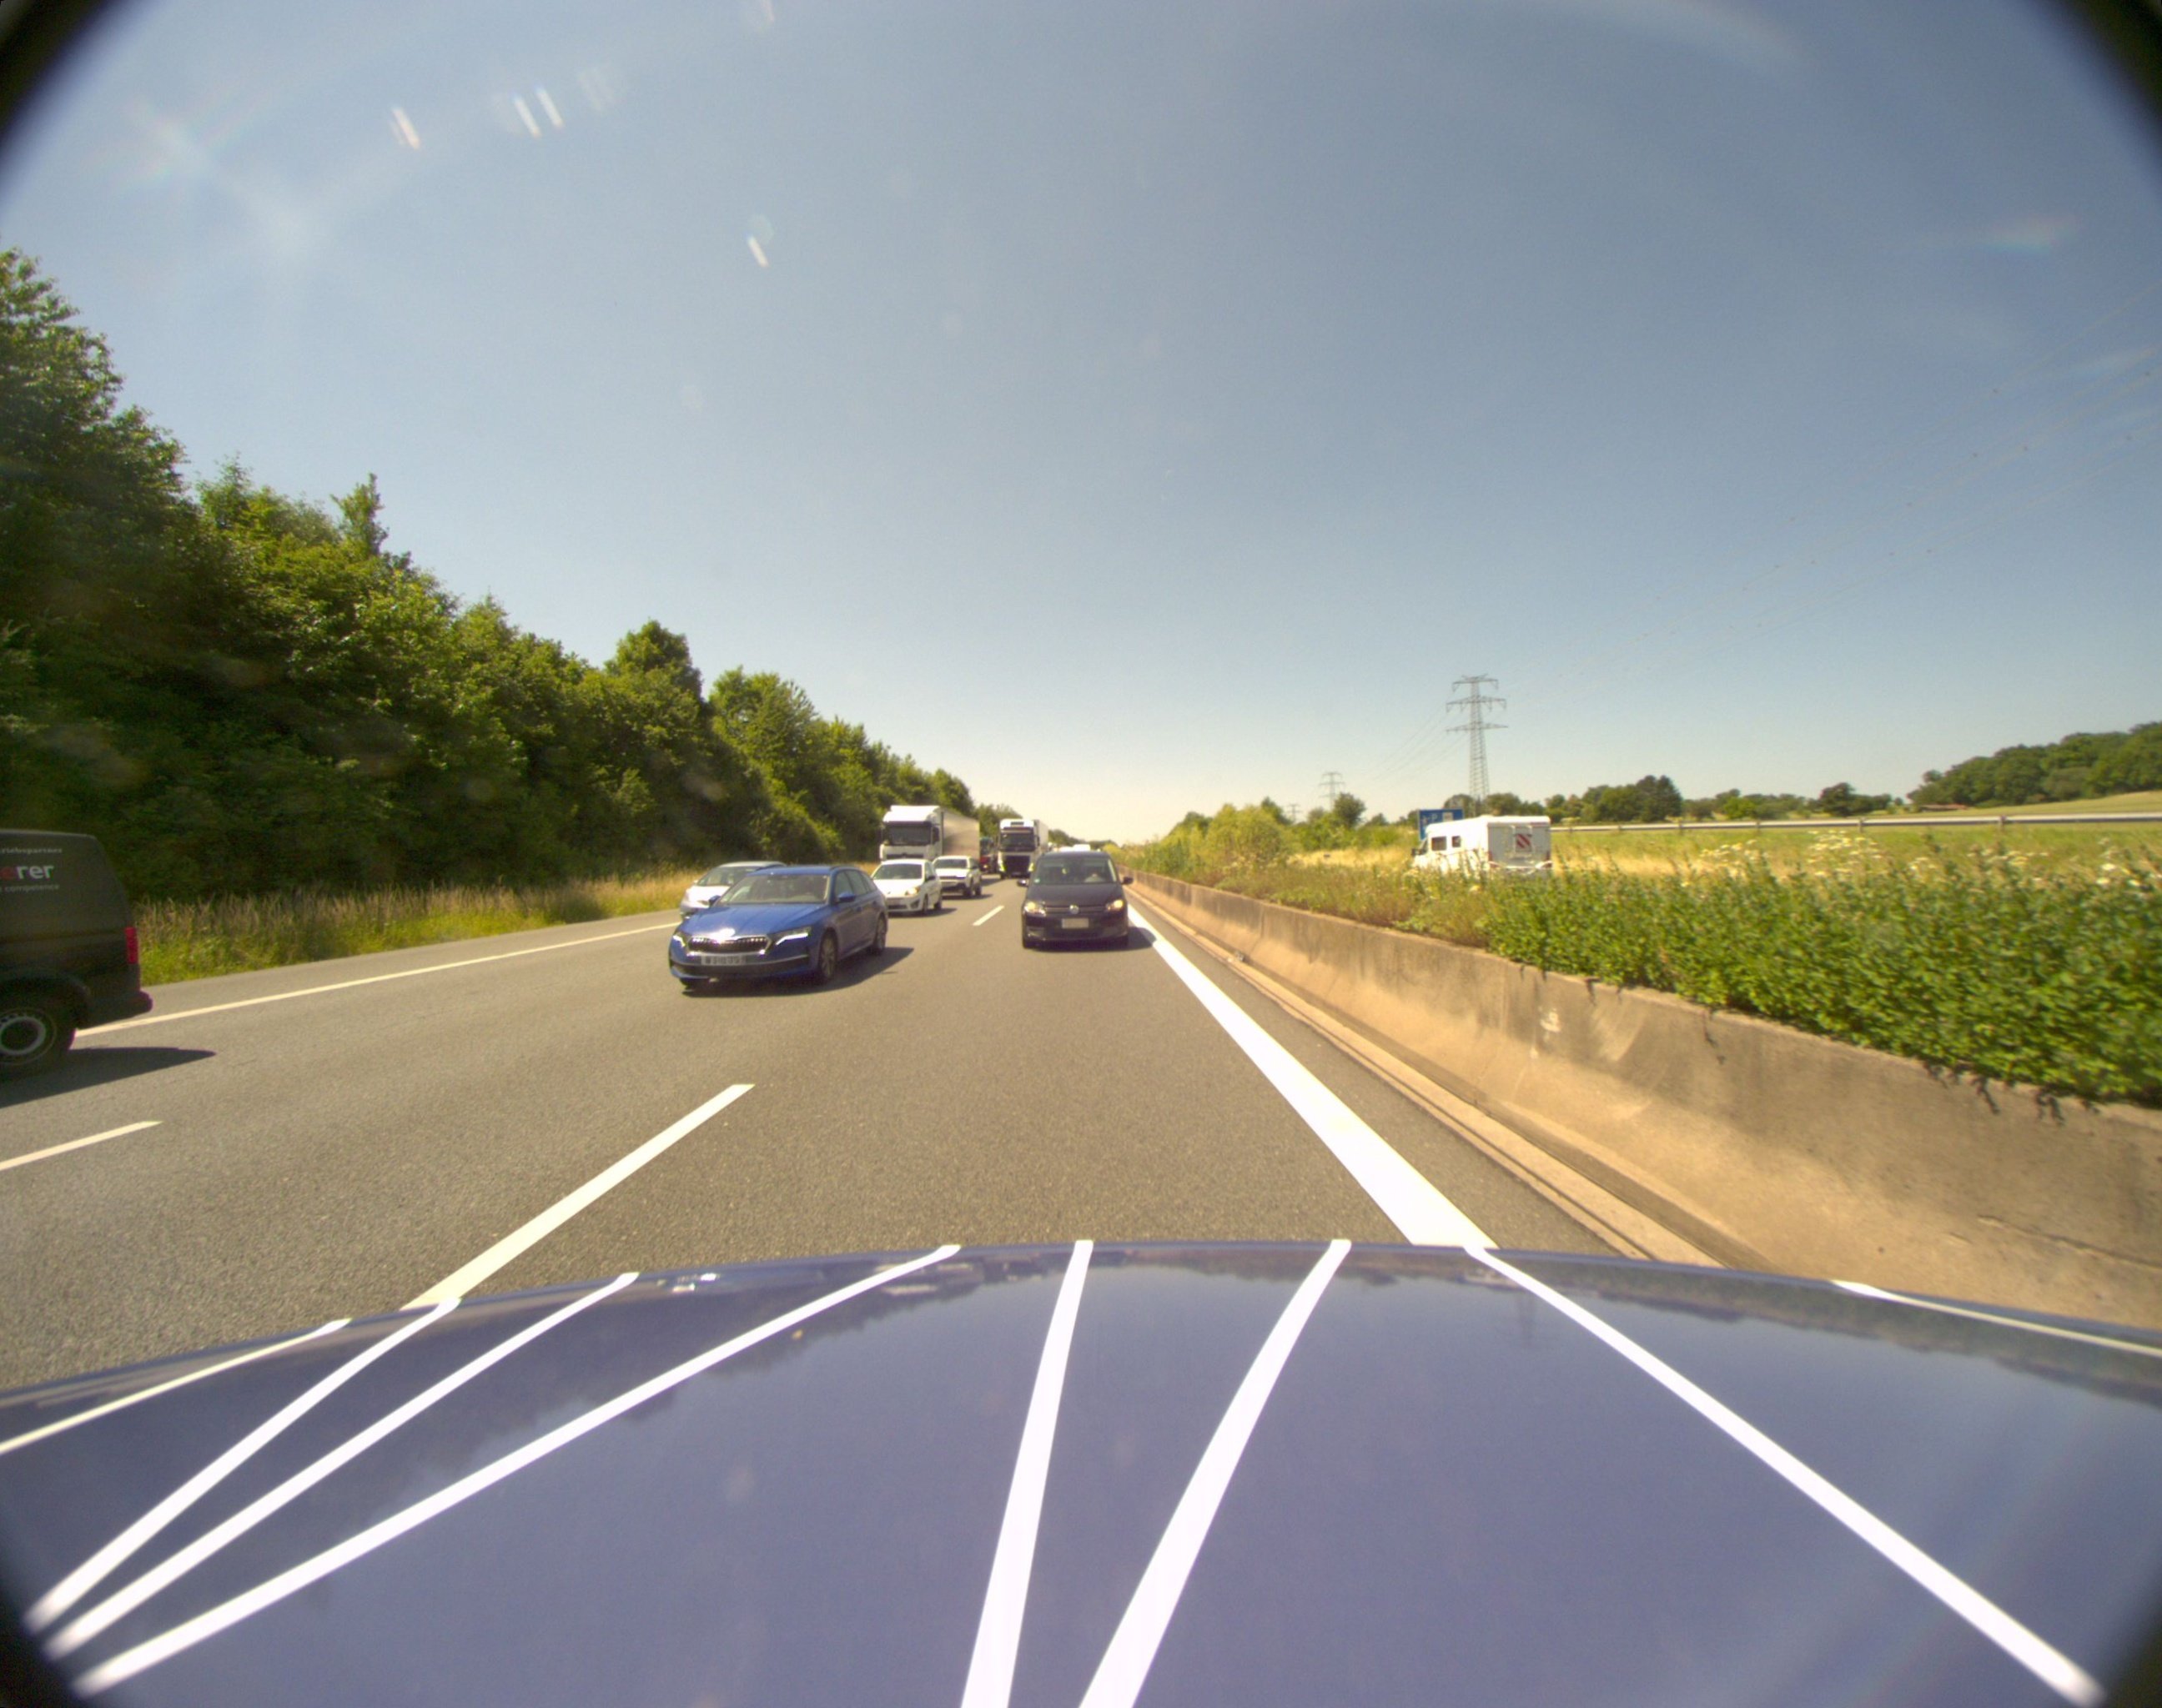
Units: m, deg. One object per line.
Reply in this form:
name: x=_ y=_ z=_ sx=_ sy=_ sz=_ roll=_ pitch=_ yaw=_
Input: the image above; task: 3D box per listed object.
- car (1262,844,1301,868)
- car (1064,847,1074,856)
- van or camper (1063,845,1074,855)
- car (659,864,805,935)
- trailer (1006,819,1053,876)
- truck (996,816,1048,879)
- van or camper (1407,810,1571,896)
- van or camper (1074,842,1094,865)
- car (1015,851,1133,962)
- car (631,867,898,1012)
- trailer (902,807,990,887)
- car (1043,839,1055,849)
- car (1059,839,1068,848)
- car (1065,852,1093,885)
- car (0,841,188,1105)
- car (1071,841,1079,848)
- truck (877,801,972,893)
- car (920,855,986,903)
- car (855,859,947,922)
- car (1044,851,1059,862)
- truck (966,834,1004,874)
car: x=11.602 y=0.090 z=44.126 sx=1.415 sy=1.238 sz=3.040 roll=-3 pitch=1 yaw=1
car: x=-2.333 y=-0.523 z=148.556 sx=1.653 sy=1.636 sz=4.000 roll=-2 pitch=1 yaw=1
van or camper: x=-2.759 y=-0.842 z=166.499 sx=2.190 sy=2.018 sz=4.363 roll=-2 pitch=1 yaw=1
car: x=-8.299 y=1.015 z=18.491 sx=1.666 sy=1.453 sz=3.922 roll=-1 pitch=0 yaw=1
trailer: x=-3.889 y=-0.524 z=59.270 sx=2.776 sy=3.951 sz=9.155 roll=-2 pitch=1 yaw=1
truck: x=-3.969 y=-0.469 z=52.922 sx=2.750 sy=3.972 sz=8.359 roll=-2 pitch=1 yaw=1
van or camper: x=15.502 y=-0.103 z=29.600 sx=2.558 sy=2.822 sz=7.065 roll=-3 pitch=1 yaw=1
van or camper: x=0.356 y=-0.085 z=81.725 sx=1.956 sy=2.368 sz=4.036 roll=-3 pitch=1 yaw=1
car: x=-0.106 y=0.801 z=14.290 sx=1.758 sy=1.571 sz=5.290 roll=-2 pitch=1 yaw=0
car: x=-4.001 y=0.976 z=10.583 sx=1.781 sy=1.408 sz=4.571 roll=-1 pitch=1 yaw=0
trailer: x=-7.848 y=-0.441 z=46.191 sx=2.880 sy=4.133 sz=12.074 roll=-2 pitch=1 yaw=1
car: x=-6.369 y=-2.034 z=151.634 sx=1.999 sy=2.002 sz=3.999 roll=-2 pitch=1 yaw=0
car: x=-4.065 y=-2.516 z=176.546 sx=1.998 sy=2.002 sz=3.999 roll=-2 pitch=1 yaw=1
car: x=-0.078 y=0.772 z=41.581 sx=1.357 sy=1.630 sz=2.993 roll=-3 pitch=1 yaw=1
car: x=-8.885 y=0.923 z=4.261 sx=1.918 sy=1.929 sz=4.855 roll=-2 pitch=1 yaw=0
car: x=-1.629 y=-2.534 z=203.935 sx=1.998 sy=2.002 sz=3.999 roll=-2 pitch=1 yaw=1
truck: x=-7.837 y=-0.366 z=39.395 sx=2.880 sy=4.133 sz=8.474 roll=-2 pitch=1 yaw=1
car: x=-4.655 y=0.862 z=28.119 sx=1.748 sy=1.549 sz=3.883 roll=-1 pitch=1 yaw=0
car: x=-4.734 y=0.904 z=20.496 sx=1.609 sy=1.426 sz=3.808 roll=-1 pitch=1 yaw=-1
car: x=-3.848 y=0.284 z=99.937 sx=1.650 sy=1.336 sz=3.381 roll=-2 pitch=1 yaw=1
truck: x=-7.974 y=-0.008 z=63.653 sx=2.300 sy=3.128 sz=5.674 roll=-2 pitch=1 yaw=1
